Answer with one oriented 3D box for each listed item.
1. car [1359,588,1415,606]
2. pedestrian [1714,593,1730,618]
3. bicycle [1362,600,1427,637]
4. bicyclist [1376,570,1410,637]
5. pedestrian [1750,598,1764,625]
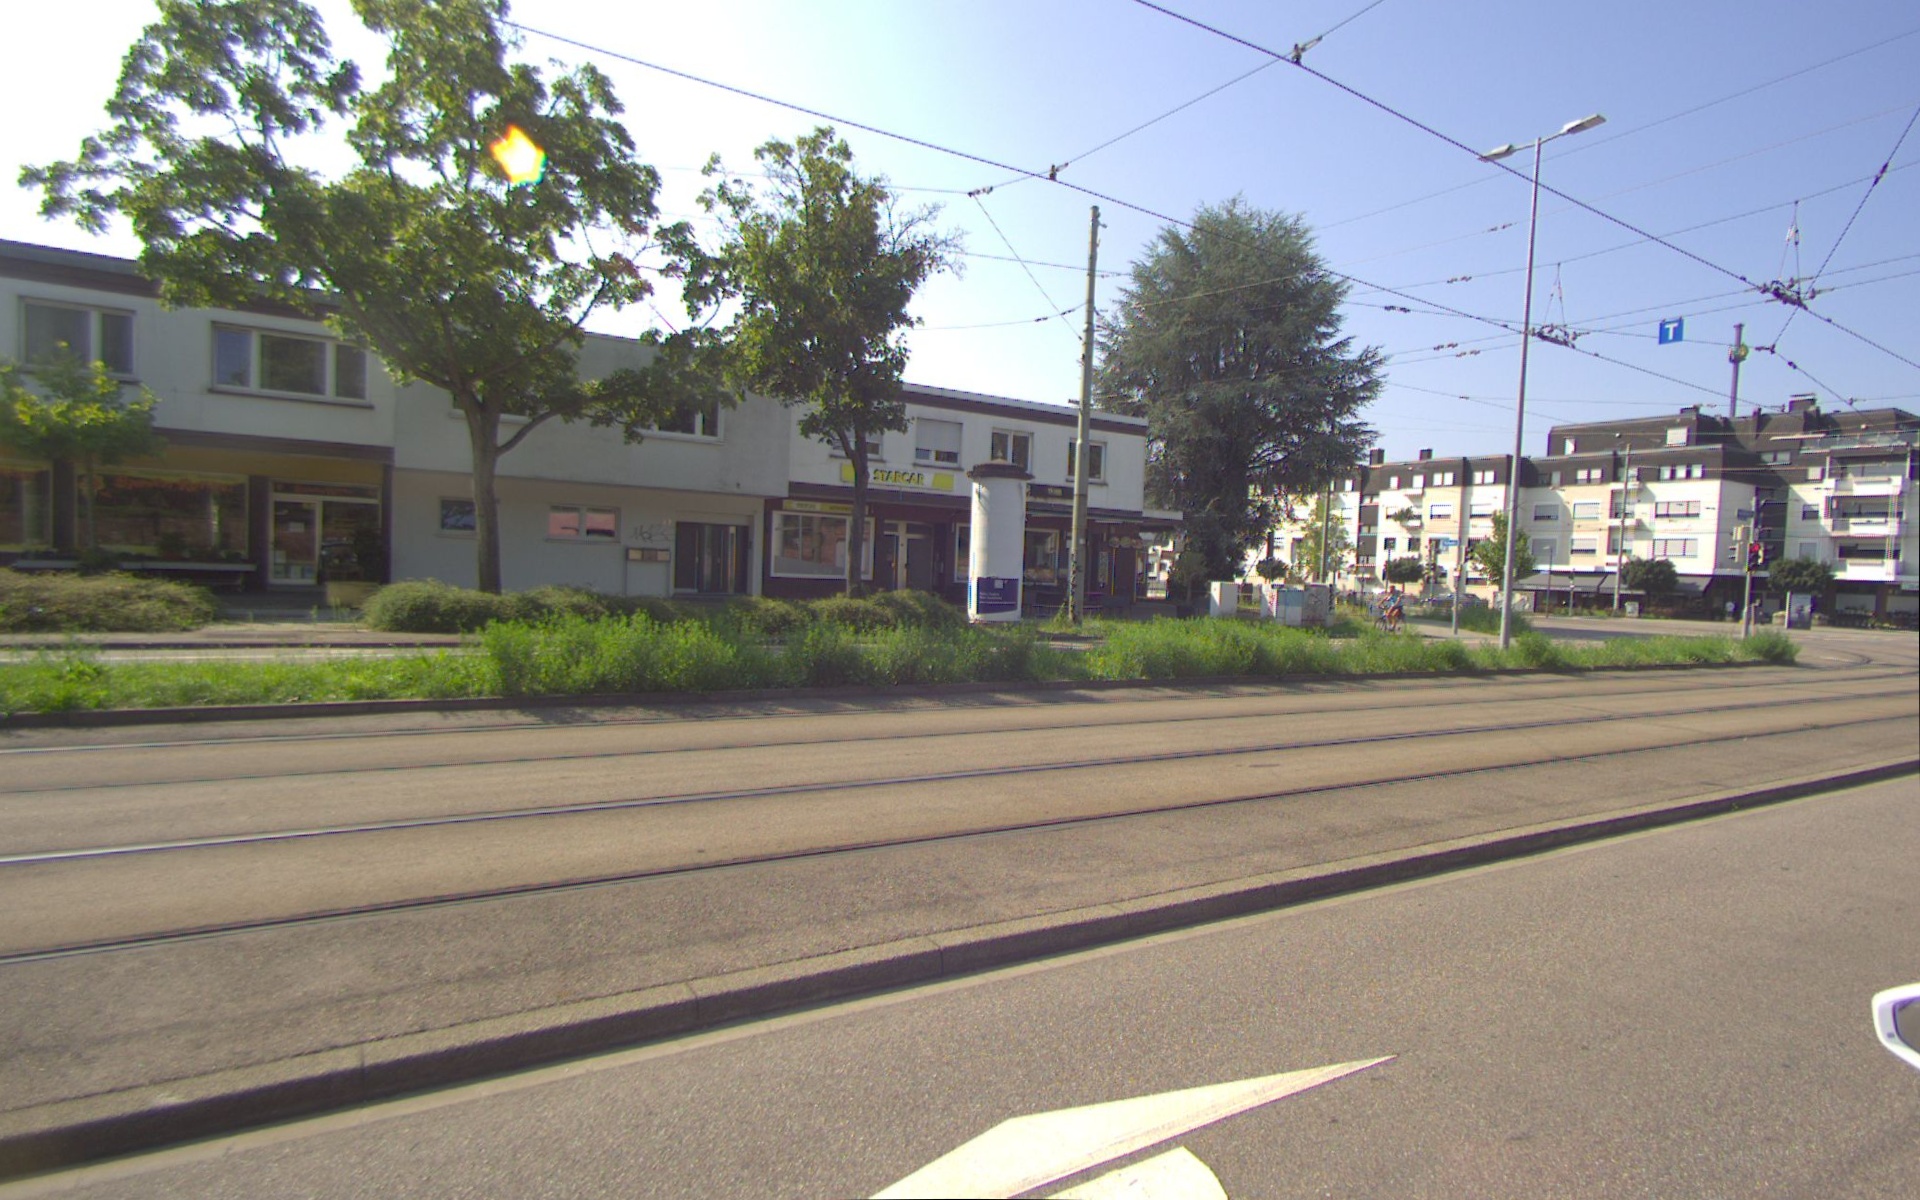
[{"bbox_3d":[35.230,-0.259,82.972,1.655,1.317,4.086,1,0,-32],"label":"car"},{"bbox_3d":[54.651,0.412,72.055,0.690,1.764,0.676,1,1,-31],"label":"pedestrian"},{"bbox_3d":[13.917,0.601,32.138,2.239,1.106,0.711,2,0,-31],"label":"bicycle"},{"bbox_3d":[13.826,0.104,32.077,0.765,2.092,0.634,1,1,-30],"label":"bicyclist"},{"bbox_3d":[53.802,0.764,67.800,0.588,1.768,0.565,2,1,25],"label":"pedestrian"}]
